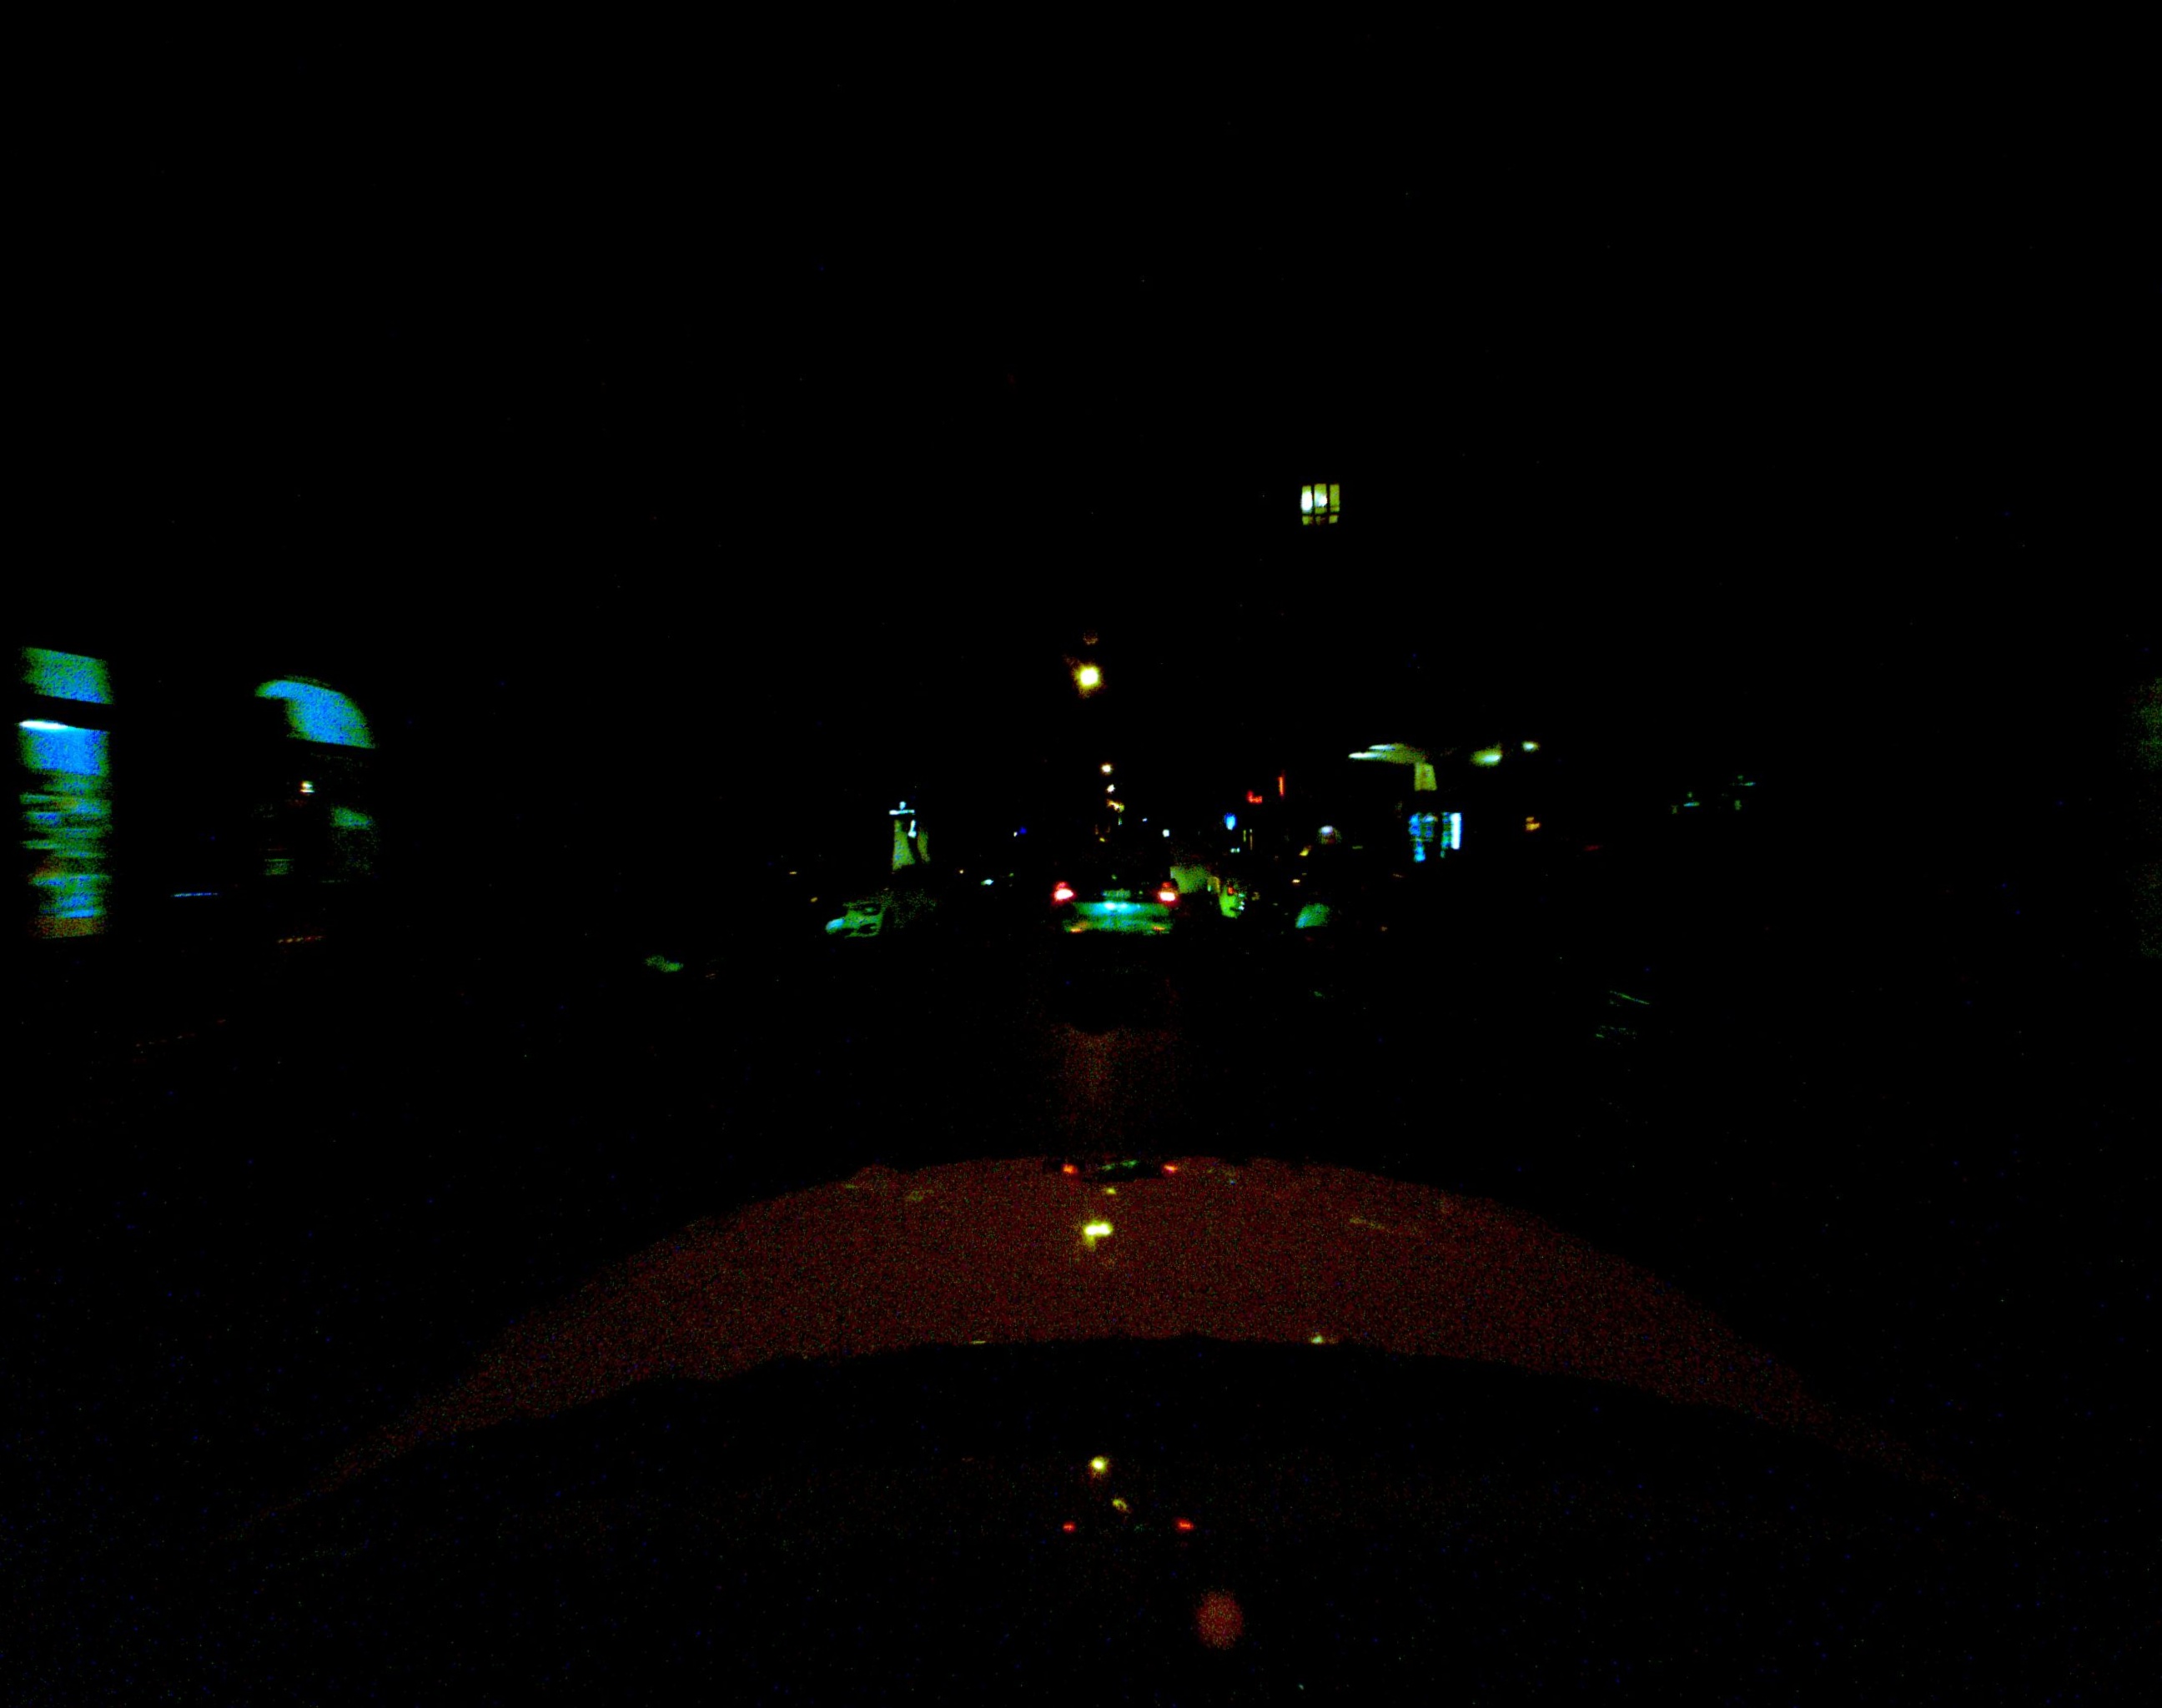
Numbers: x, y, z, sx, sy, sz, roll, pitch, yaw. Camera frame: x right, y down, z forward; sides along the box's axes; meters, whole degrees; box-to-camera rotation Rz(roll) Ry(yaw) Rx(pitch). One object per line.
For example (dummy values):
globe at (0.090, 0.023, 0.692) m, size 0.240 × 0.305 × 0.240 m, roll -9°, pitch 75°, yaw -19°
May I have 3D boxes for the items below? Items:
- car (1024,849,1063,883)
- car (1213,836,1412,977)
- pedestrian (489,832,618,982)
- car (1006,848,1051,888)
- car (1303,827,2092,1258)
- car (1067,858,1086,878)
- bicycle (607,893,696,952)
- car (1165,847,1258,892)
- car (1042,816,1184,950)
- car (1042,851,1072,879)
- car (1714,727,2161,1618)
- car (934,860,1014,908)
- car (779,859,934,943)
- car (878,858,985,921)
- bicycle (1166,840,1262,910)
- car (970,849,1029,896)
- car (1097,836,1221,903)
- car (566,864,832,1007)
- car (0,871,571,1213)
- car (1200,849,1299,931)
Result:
car at (-2.236, 0.715, 49.230) m, size 1.985 × 2.014 × 4.003 m, roll 0°, pitch 0°, yaw 3°
car at (2.981, 0.631, 11.367) m, size 1.746 × 1.608 × 3.991 m, roll -1°, pitch -1°, yaw 2°
pedestrian at (-6.947, 0.664, 10.765) m, size 1.023 × 1.865 × 0.981 m, roll 0°, pitch -1°, yaw 17°
car at (-2.746, 0.733, 43.497) m, size 1.986 × 2.014 × 4.002 m, roll 0°, pitch 0°, yaw 2°
car at (2.814, 0.713, 5.144) m, size 1.746 × 1.538 × 4.400 m, roll -1°, pitch -1°, yaw 2°
car at (-0.457, 1.432, 84.796) m, size 1.742 × 2.014 × 4.003 m, roll 0°, pitch 0°, yaw 3°
bicycle at (-7.914, 1.231, 15.108) m, size 0.447 × 0.958 × 2.016 m, roll -3°, pitch -2°, yaw 4°
car at (6.411, 0.767, 40.190) m, size 3.992 × 2.014 × 1.990 m, roll -2°, pitch -2°, yaw -14°
car at (0.504, 0.433, 14.682) m, size 2.116 × 1.991 × 4.600 m, roll -1°, pitch 0°, yaw 0°
car at (-1.754, 0.833, 60.635) m, size 1.985 × 2.014 × 4.003 m, roll 0°, pitch 0°, yaw 3°
car at (2.728, 0.537, 0.359) m, size 1.746 × 1.566 × 4.156 m, roll -1°, pitch -1°, yaw 2°
car at (-3.463, 0.933, 27.000) m, size 1.986 × 1.449 × 4.002 m, roll 0°, pitch 0°, yaw 2°
car at (-4.354, 0.852, 16.511) m, size 1.683 × 1.400 × 4.321 m, roll -1°, pitch 0°, yaw 3°
car at (-3.921, 0.871, 22.128) m, size 1.746 × 1.449 × 4.628 m, roll 0°, pitch 0°, yaw 4°
bicycle at (3.510, 0.555, 21.695) m, size 2.310 × 1.639 × 0.889 m, roll -5°, pitch -1°, yaw 3°
car at (-3.358, 0.752, 34.400) m, size 1.986 × 1.862 × 4.095 m, roll 0°, pitch 0°, yaw 1°
car at (2.606, 0.417, 25.889) m, size 2.102 × 1.922 × 4.856 m, roll -1°, pitch 0°, yaw 30°
car at (-4.653, 0.905, 10.522) m, size 1.579 × 1.449 × 3.506 m, roll -1°, pitch 0°, yaw 3°
car at (-4.993, 0.917, 5.198) m, size 1.579 × 1.510 × 2.790 m, roll -1°, pitch 0°, yaw 3°
car at (3.493, 0.714, 17.358) m, size 1.585 × 1.543 × 3.423 m, roll -1°, pitch -1°, yaw 3°
